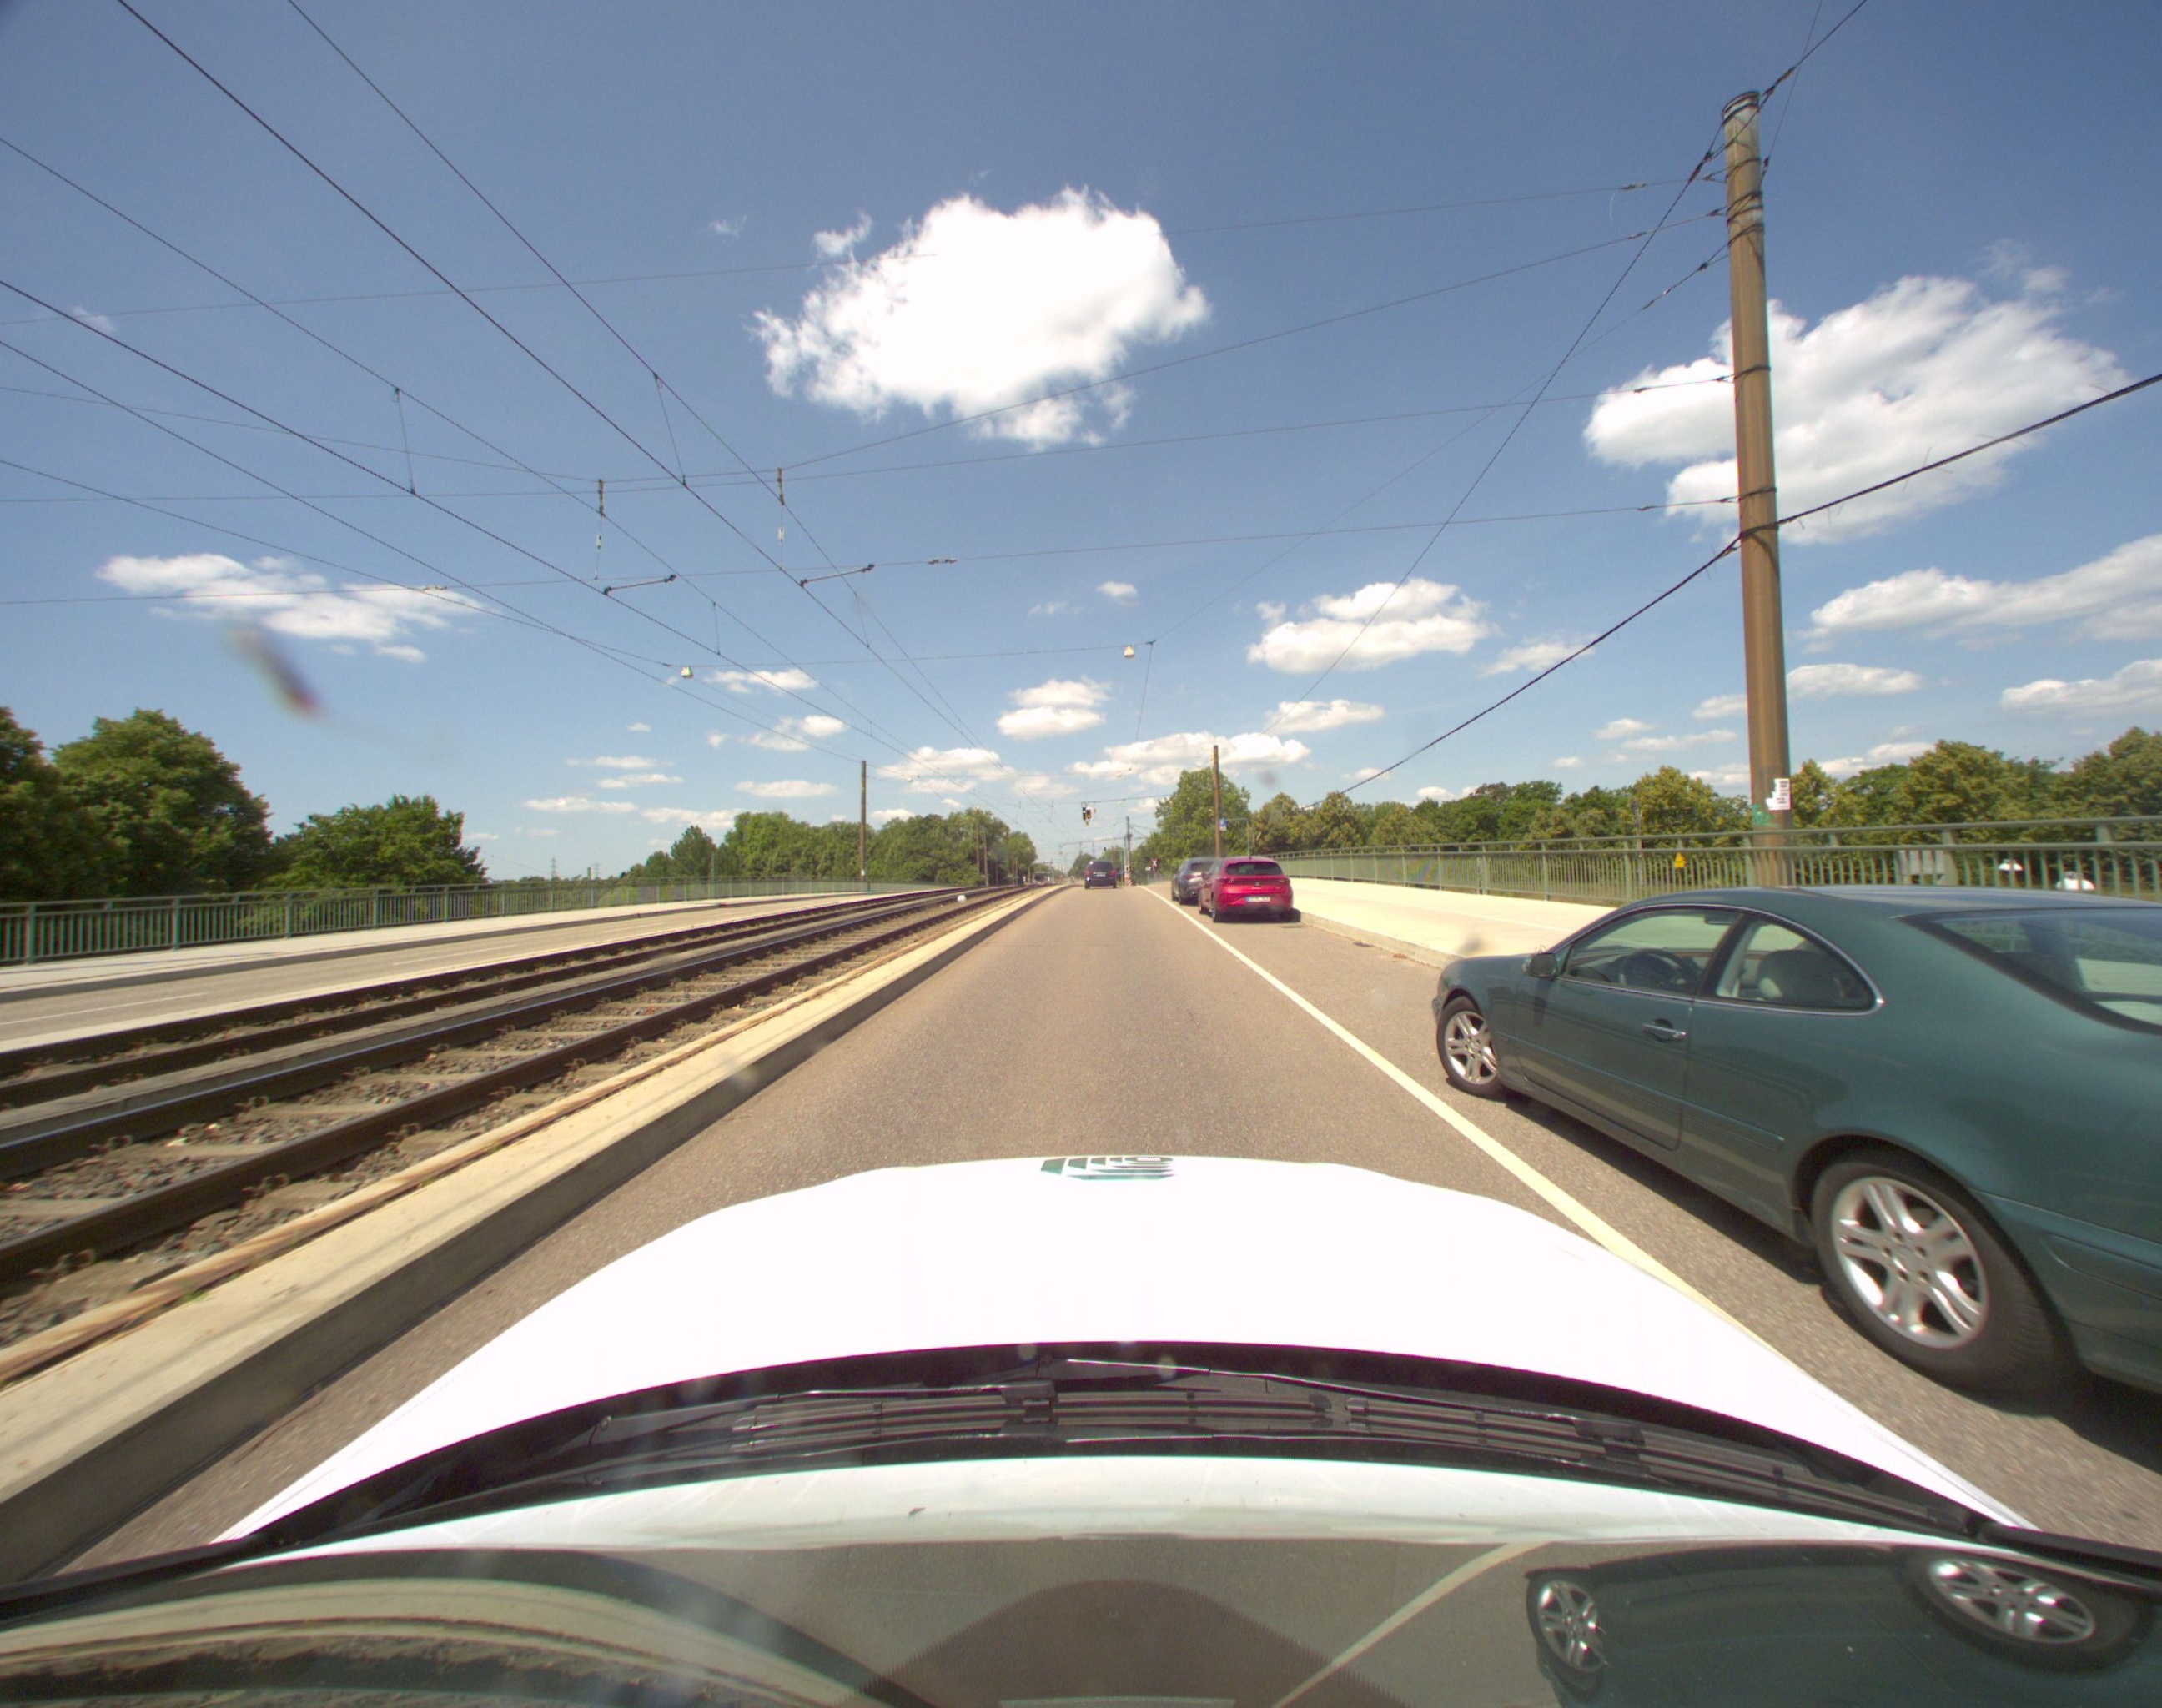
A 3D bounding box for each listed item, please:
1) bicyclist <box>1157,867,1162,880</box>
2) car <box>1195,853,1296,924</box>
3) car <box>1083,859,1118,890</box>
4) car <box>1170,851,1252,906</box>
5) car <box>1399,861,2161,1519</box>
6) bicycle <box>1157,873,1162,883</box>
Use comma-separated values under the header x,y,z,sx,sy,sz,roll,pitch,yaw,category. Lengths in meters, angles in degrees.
x,y,z,sx,sy,sz,roll,pitch,yaw,category
9.596,2.368,99.439,0.583,1.495,0.558,-1,-1,3,bicyclist
3.807,0.738,19.484,1.641,1.460,4.287,-1,0,2,car
1.095,1.098,45.827,1.846,1.570,4.390,-1,0,2,car
3.985,0.694,25.760,1.986,1.552,4.723,-1,0,2,car
3.195,0.754,3.732,1.679,1.358,4.592,-1,0,0,car
9.582,2.932,99.440,0.430,1.152,1.856,-1,0,3,bicycle
